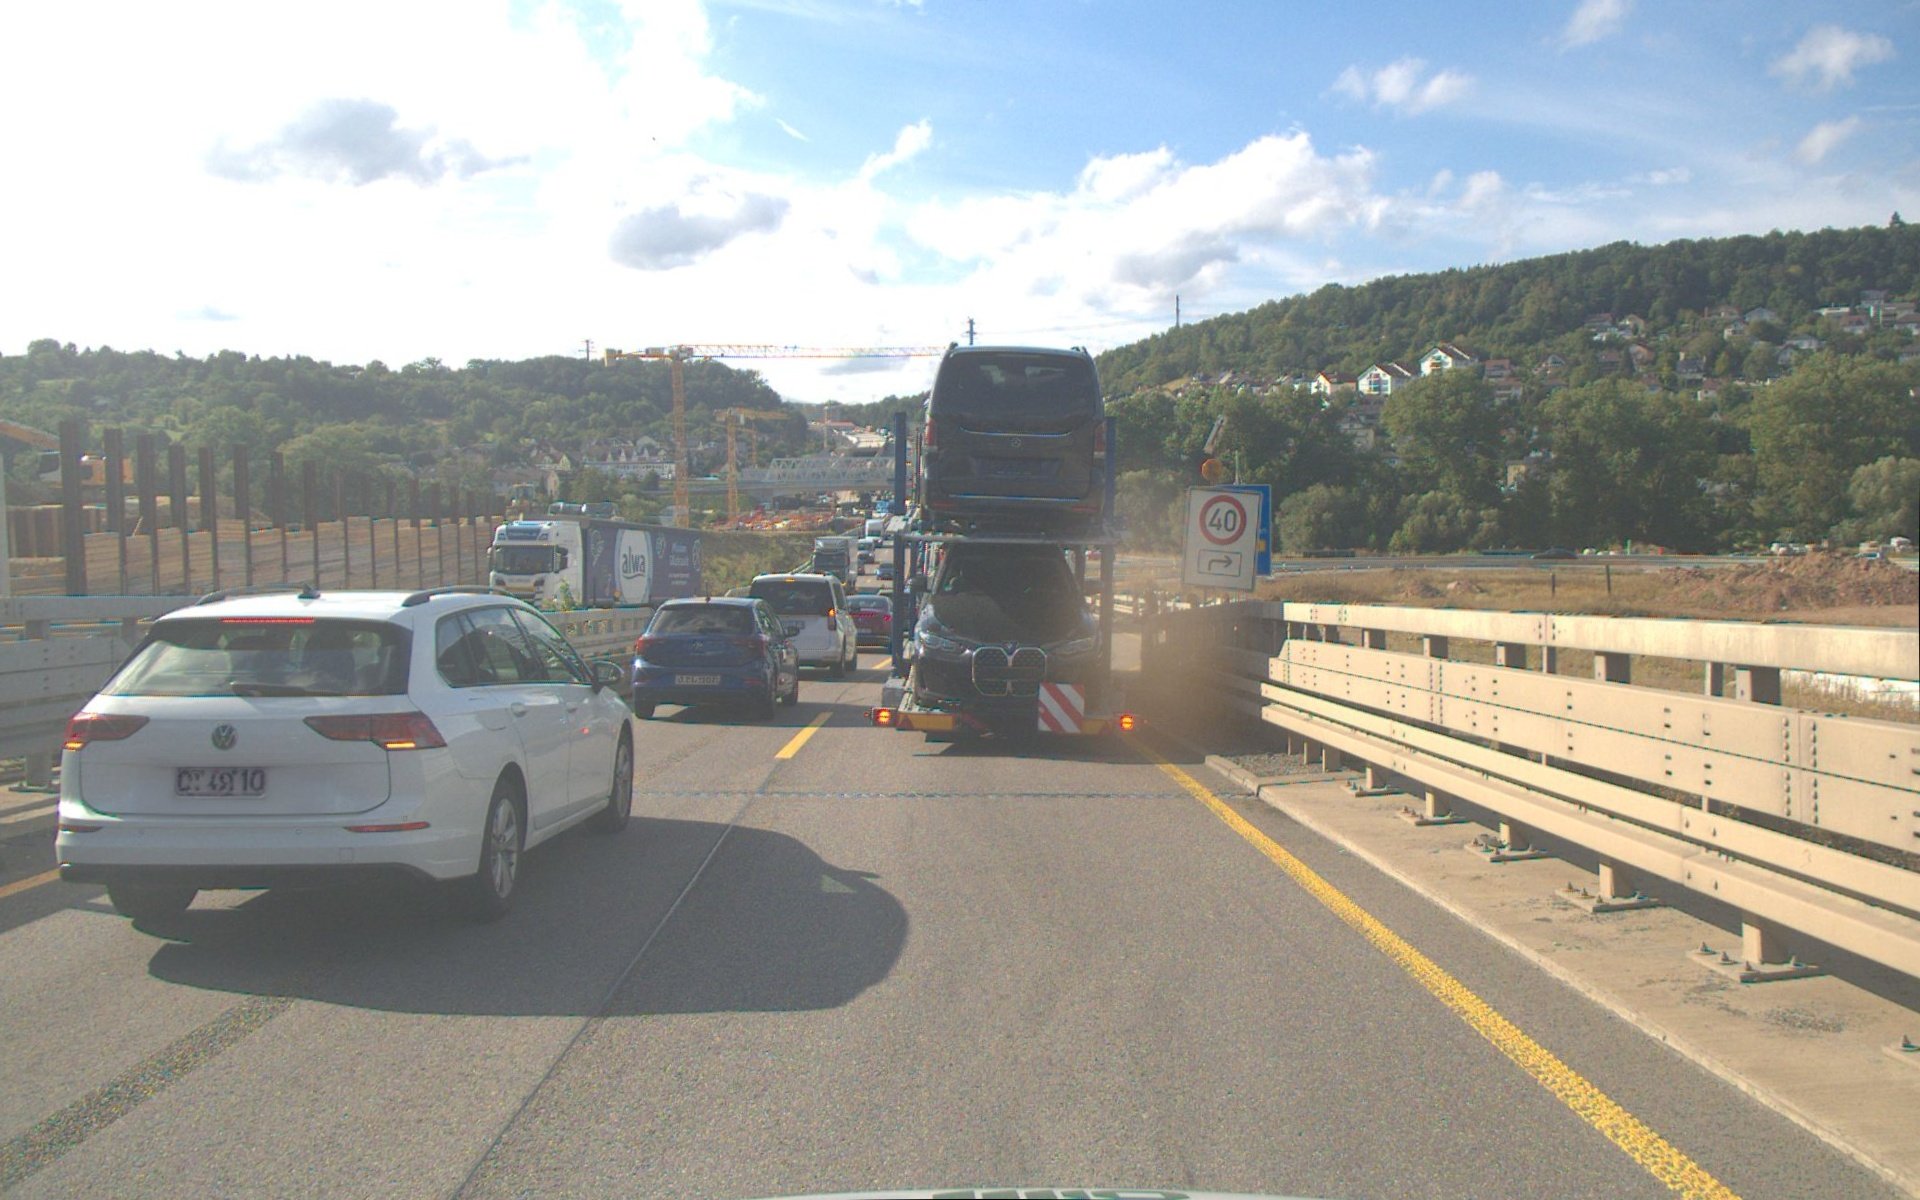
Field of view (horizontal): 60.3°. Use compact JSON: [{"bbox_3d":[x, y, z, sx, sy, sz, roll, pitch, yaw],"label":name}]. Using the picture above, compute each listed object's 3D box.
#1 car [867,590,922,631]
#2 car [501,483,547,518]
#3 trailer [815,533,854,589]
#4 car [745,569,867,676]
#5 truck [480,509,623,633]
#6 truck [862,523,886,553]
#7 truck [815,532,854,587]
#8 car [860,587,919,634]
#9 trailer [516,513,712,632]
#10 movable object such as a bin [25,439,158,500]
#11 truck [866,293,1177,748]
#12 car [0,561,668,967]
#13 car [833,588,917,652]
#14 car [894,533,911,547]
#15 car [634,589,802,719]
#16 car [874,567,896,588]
[{"bbox_3d":[-2.625,0.421,66.885,1.952,1.579,4.000,1,0,1],"label":"car"},{"bbox_3d":[-32.865,-7.470,124.825,1.953,2.177,5.320,-4,0,-1],"label":"car"},{"bbox_3d":[-9.723,-2.878,127.141,2.765,3.908,13.789,1,0,-5],"label":"trailer"},{"bbox_3d":[-2.755,0.401,30.422,1.785,1.823,4.000,1,0,1],"label":"car"},{"bbox_3d":[-14.562,-0.973,59.426,2.654,4.210,5.975,1,-1,11],"label":"truck"},{"bbox_3d":[-11.008,-7.893,211.419,2.645,3.369,7.536,1,0,0],"label":"truck"},{"bbox_3d":[-9.213,-2.905,120.872,2.723,3.855,6.011,1,-1,-5],"label":"truck"},{"bbox_3d":[-2.441,0.361,58.046,1.953,1.579,3.998,1,0,-2],"label":"car"},{"bbox_3d":[-13.400,-0.908,65.925,2.630,4.228,13.823,1,0,10],"label":"trailer"},{"bbox_3d":[-53.251,-7.935,101.526,5.623,3.328,4.514,1,-1,11],"label":"movable object such as a bin"},{"bbox_3d":[0.413,-0.646,24.370,2.697,4.024,18.884,2,0,-1],"label":"truck"},{"bbox_3d":[-2.792,0.624,8.559,1.734,1.517,4.516,-1,0,0],"label":"car"},{"bbox_3d":[-2.210,0.518,44.081,1.952,1.584,4.401,1,0,1],"label":"car"},{"bbox_3d":[-7.405,-7.793,213.711,2.082,1.702,4.273,-1,3,-1],"label":"car"},{"bbox_3d":[-2.964,0.638,20.989,1.687,1.447,3.997,2,-1,-3],"label":"car"},{"bbox_3d":[-6.714,-2.017,148.453,1.953,1.757,4.121,1,0,-2],"label":"car"}]
